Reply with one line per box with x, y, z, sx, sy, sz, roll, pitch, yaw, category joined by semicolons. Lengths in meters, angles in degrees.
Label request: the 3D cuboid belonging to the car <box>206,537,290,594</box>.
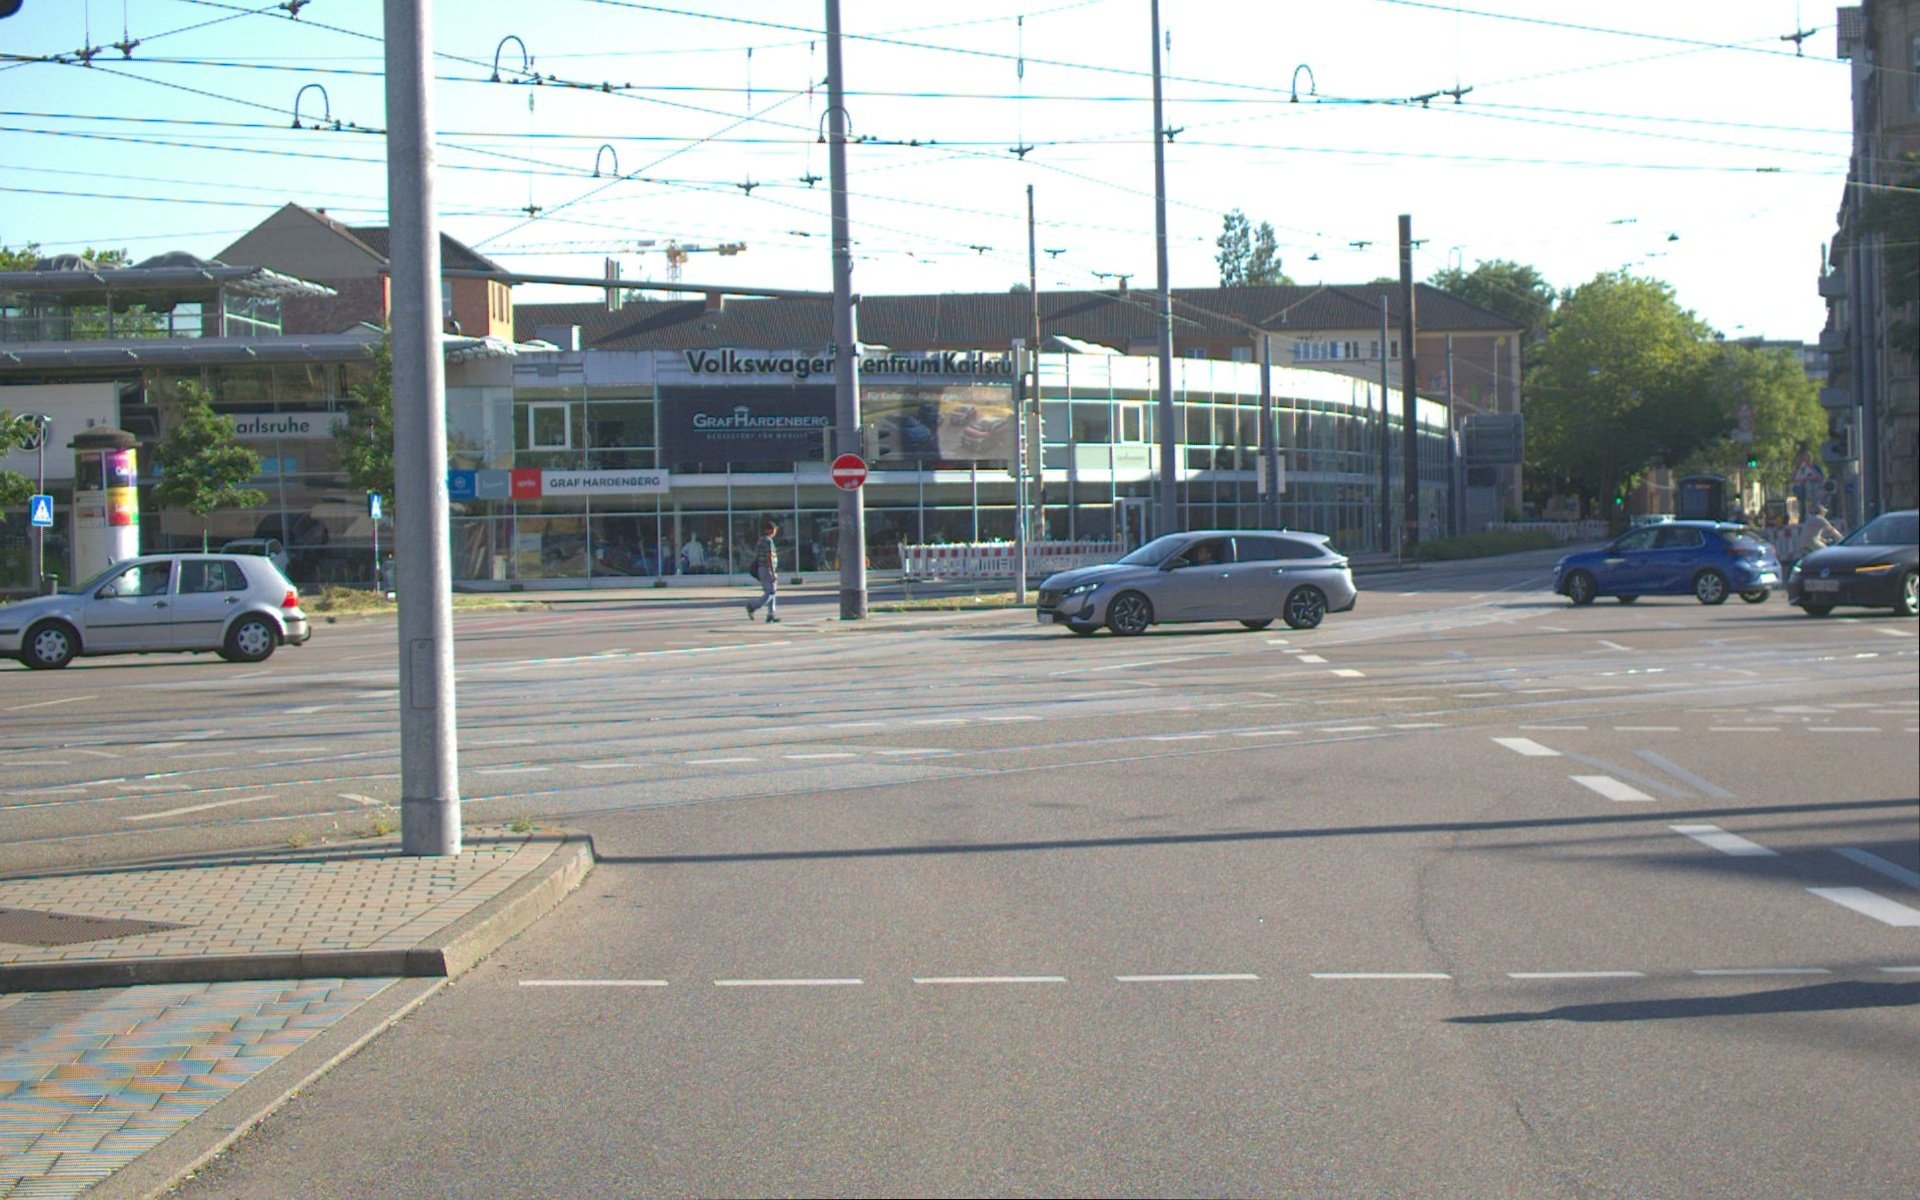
-20.915;-1.032;101.122;1.993;1.529;4.001;0;3;-6;car

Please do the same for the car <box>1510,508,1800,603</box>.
12.154;-0.773;60.276;4.612;1.588;1.949;0;1;40;car

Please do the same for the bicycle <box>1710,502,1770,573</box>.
19.036;-1.541;83.833;1.136;1.684;3.997;-1;1;16;bicycle

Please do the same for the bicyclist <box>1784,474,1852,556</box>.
16.464;-1.634;65.980;0.923;1.554;0.860;-1;3;-23;bicyclist

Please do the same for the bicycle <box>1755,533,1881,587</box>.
16.481;-0.774;66.029;2.295;0.976;0.860;-1;3;-23;bicycle

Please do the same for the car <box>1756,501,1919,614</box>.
13.118;-0.619;47.571;4.090;1.481;1.953;-2;1;-38;car

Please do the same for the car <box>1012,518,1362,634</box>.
3.231;-0.360;49.009;4.543;1.512;1.954;-2;1;-21;car

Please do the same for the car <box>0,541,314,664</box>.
-10.520;0.008;44.168;4.093;1.447;1.954;-2;1;-20;car

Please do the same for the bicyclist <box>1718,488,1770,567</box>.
19.128;-1.770;83.861;1.120;1.894;1.073;1;3;18;bicyclist

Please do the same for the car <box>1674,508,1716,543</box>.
36.852;-3.766;172.441;1.802;1.650;3.917;0;3;8;car

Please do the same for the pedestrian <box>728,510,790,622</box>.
-3.324;-0.572;56.878;0.989;1.810;0.920;0;3;-2;pedestrian
